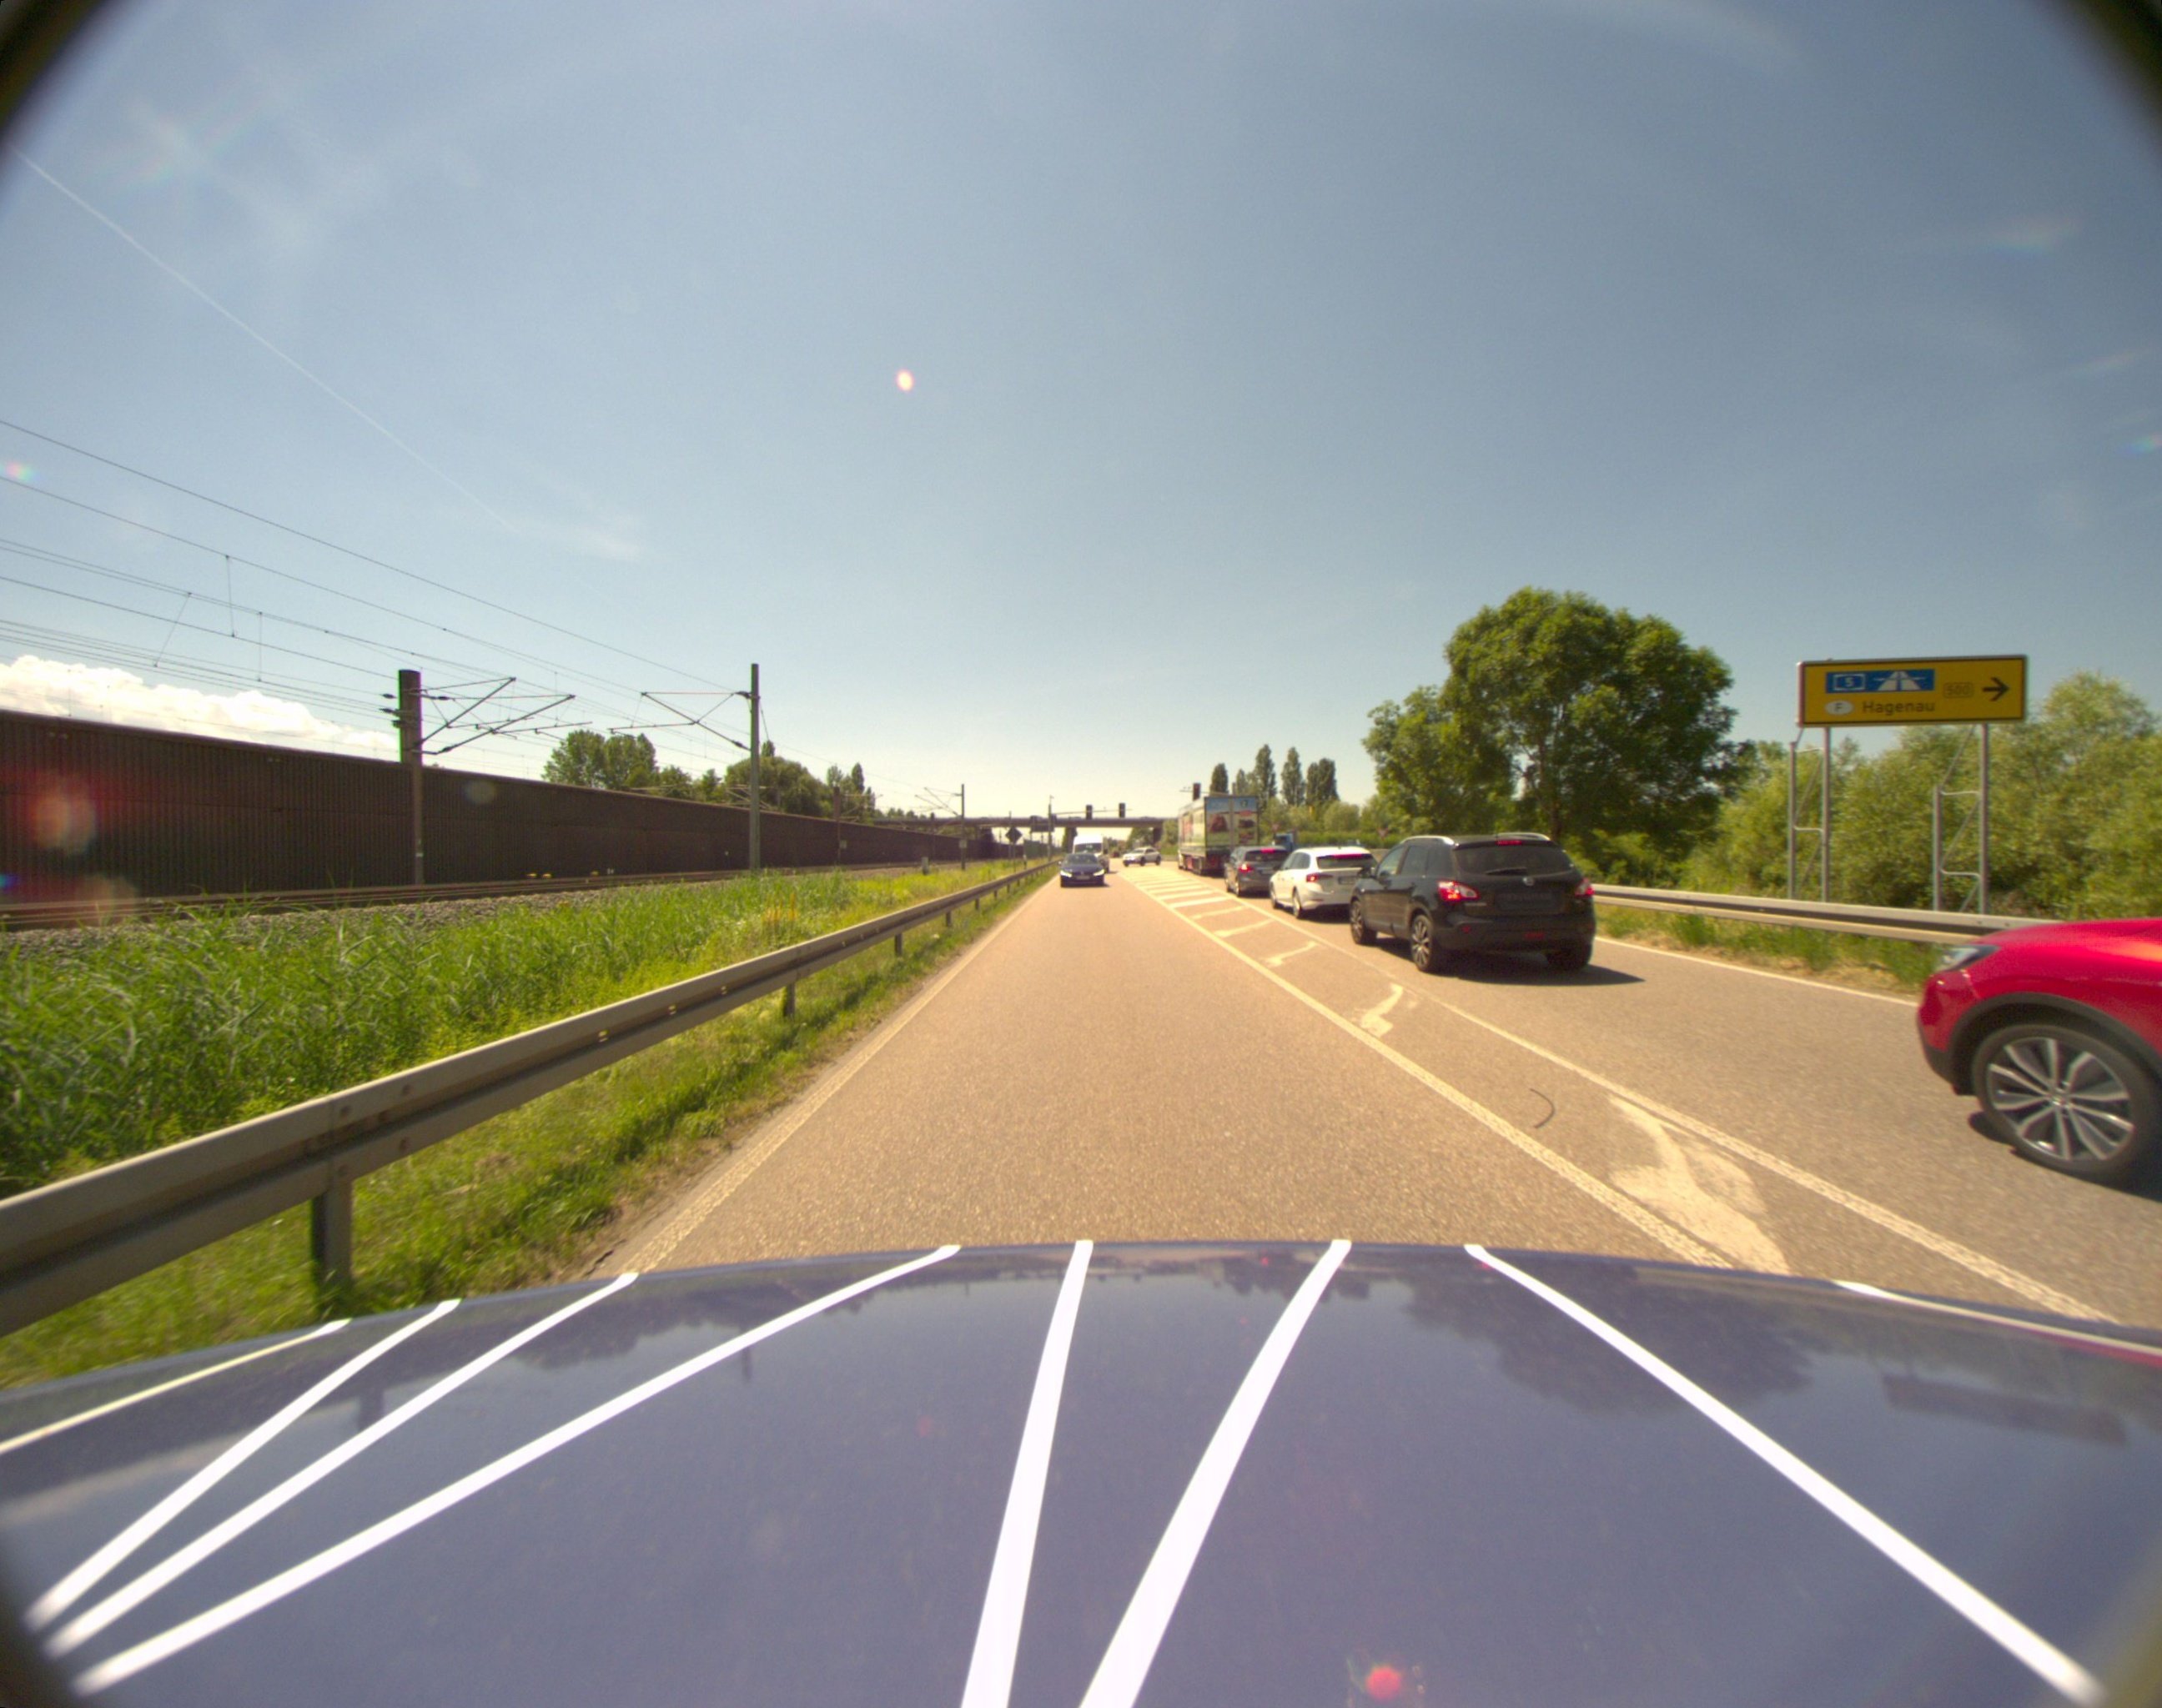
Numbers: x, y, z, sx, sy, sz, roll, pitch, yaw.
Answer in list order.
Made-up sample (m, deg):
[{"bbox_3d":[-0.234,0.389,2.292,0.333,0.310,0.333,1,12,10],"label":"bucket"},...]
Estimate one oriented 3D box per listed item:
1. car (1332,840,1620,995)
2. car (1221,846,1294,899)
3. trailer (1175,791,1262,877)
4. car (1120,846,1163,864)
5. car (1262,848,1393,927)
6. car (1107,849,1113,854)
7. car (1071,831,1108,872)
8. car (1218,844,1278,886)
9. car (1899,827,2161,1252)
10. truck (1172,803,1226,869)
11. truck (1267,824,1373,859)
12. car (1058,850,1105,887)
[{"bbox_3d":[4.844,0.647,10.158,1.720,1.580,4.535,-2,0,4],"label":"car"},{"bbox_3d":[5.489,0.520,24.078,1.627,1.529,4.385,0,0,5],"label":"car"},{"bbox_3d":[7.447,-1.067,43.390,2.696,4.022,14.124,-2,1,2],"label":"trailer"},{"bbox_3d":[5.172,0.047,64.677,1.716,1.427,3.968,0,1,39],"label":"car"},{"bbox_3d":[5.229,0.619,16.755,1.657,1.470,4.631,-2,0,4],"label":"car"},{"bbox_3d":[9.292,-0.733,243.261,1.589,1.553,3.687,-2,0,1],"label":"car"},{"bbox_3d":[0.639,-0.153,50.447,2.228,2.480,5.983,-1,0,2],"label":"car"},{"bbox_3d":[6.745,0.409,31.081,1.716,1.553,4.154,-1,1,3],"label":"car"},{"bbox_3d":[4.934,0.700,1.697,1.759,1.622,4.280,-2,0,4],"label":"car"},{"bbox_3d":[7.668,-1.168,50.179,2.696,4.022,5.825,-2,1,2],"label":"truck"},{"bbox_3d":[22.510,-1.155,71.935,9.167,3.177,2.696,0,1,3],"label":"truck"},{"bbox_3d":[0.076,0.591,33.008,1.847,1.415,4.562,-2,1,1],"label":"car"}]
